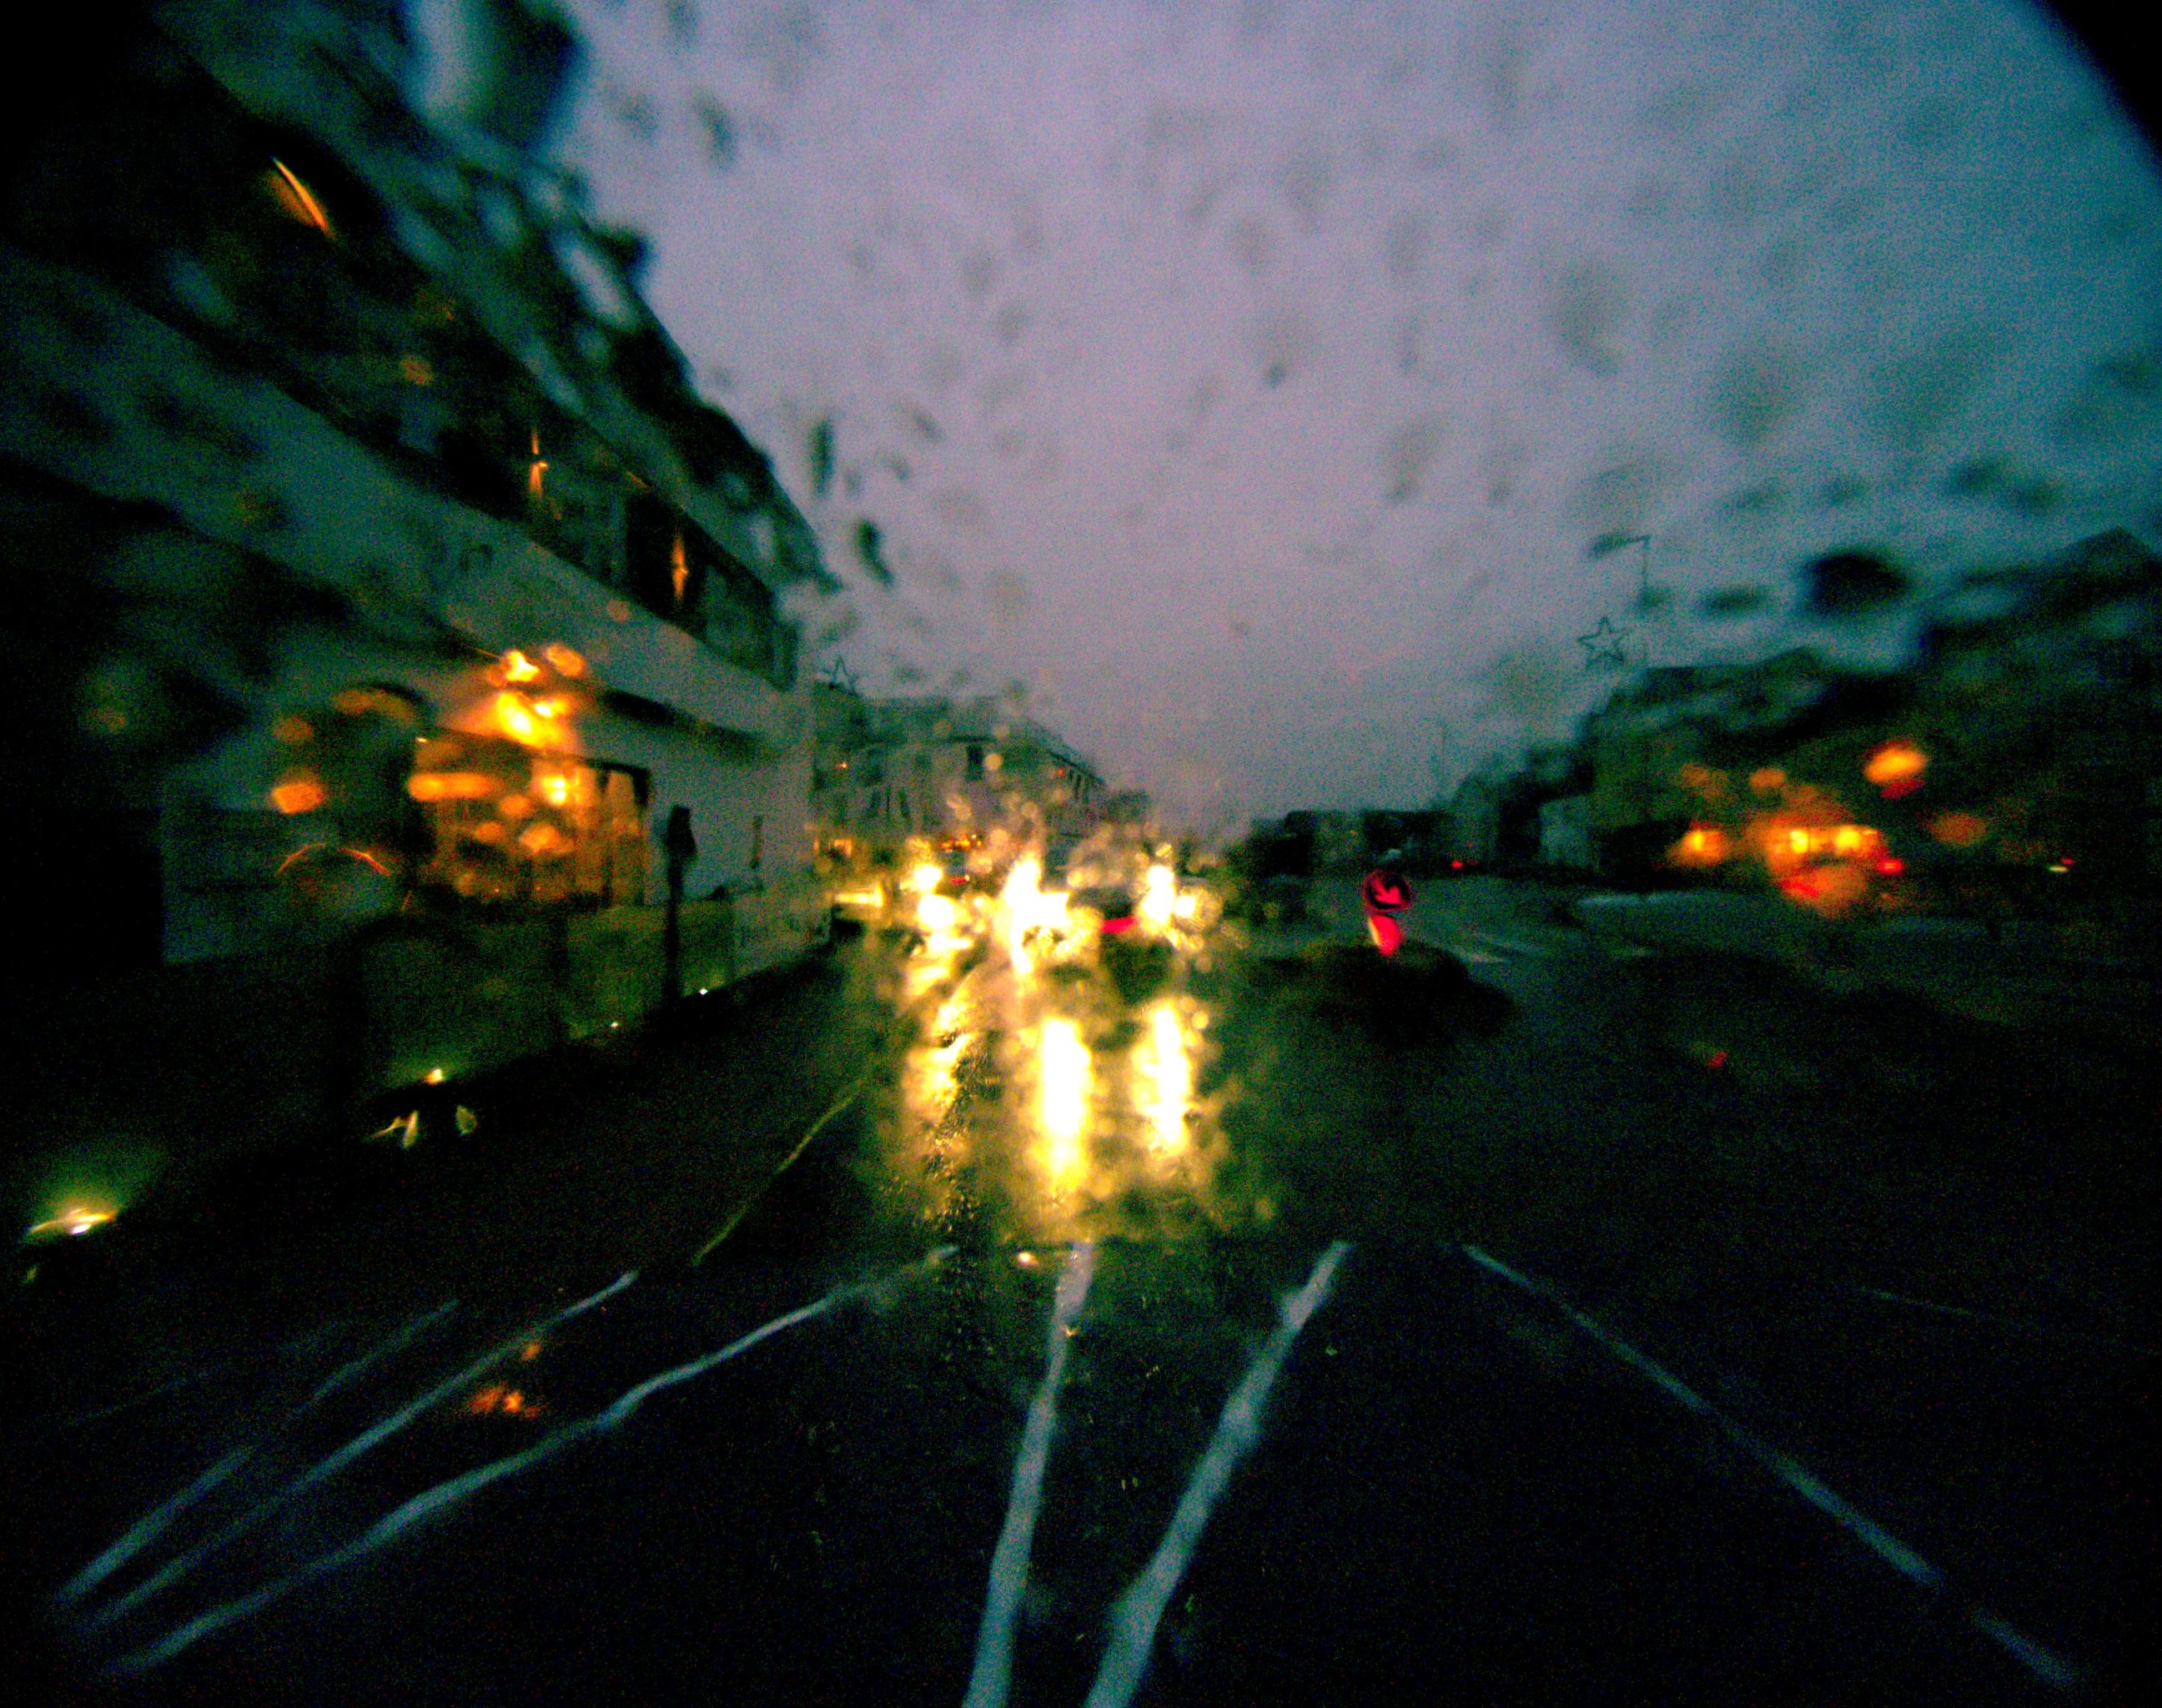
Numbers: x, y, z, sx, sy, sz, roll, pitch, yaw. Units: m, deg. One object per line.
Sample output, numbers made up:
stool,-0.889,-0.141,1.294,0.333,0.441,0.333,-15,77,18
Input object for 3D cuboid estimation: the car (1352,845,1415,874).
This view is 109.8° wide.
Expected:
car,22.069,0.360,55.550,1.974,1.984,3.991,-3,3,-25

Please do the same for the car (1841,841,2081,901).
car,23.569,0.449,20.550,3.889,1.494,1.710,-1,1,23

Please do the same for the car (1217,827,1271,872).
car,8.033,-0.260,37.146,2.055,1.976,4.541,-1,2,18

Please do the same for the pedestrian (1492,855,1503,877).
pedestrian,31.707,0.905,57.826,0.582,1.602,0.500,-2,3,5

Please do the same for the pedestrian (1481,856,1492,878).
pedestrian,30.692,0.969,57.521,0.582,1.602,0.500,-2,3,5

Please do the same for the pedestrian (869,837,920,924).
pedestrian,-4.132,0.561,16.859,0.789,1.856,0.711,0,4,44

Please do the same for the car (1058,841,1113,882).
car,0.255,0.254,32.227,2.171,1.469,3.999,-2,2,2

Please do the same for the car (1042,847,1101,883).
car,-0.487,0.576,42.805,1.822,1.736,4.005,-1,2,23

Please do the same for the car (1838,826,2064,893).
car,28.152,0.173,24.807,4.455,2.003,2.002,-1,3,18

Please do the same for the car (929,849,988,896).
car,-4.742,0.631,29.393,2.029,1.471,4.552,-3,2,-9

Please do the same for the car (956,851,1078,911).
car,-1.923,0.691,21.570,1.766,1.471,4.009,-3,2,-32

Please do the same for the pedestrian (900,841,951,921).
pedestrian,-3.556,0.603,17.378,0.789,1.752,0.770,0,4,44

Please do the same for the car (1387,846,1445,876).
car,24.694,0.461,56.110,1.926,2.003,3.966,-3,2,-13

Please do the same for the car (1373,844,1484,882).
car,16.438,0.376,36.097,1.892,1.596,4.361,-4,3,-39

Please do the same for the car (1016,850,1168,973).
car,-0.020,0.755,12.246,1.959,1.576,4.107,-1,1,-6
